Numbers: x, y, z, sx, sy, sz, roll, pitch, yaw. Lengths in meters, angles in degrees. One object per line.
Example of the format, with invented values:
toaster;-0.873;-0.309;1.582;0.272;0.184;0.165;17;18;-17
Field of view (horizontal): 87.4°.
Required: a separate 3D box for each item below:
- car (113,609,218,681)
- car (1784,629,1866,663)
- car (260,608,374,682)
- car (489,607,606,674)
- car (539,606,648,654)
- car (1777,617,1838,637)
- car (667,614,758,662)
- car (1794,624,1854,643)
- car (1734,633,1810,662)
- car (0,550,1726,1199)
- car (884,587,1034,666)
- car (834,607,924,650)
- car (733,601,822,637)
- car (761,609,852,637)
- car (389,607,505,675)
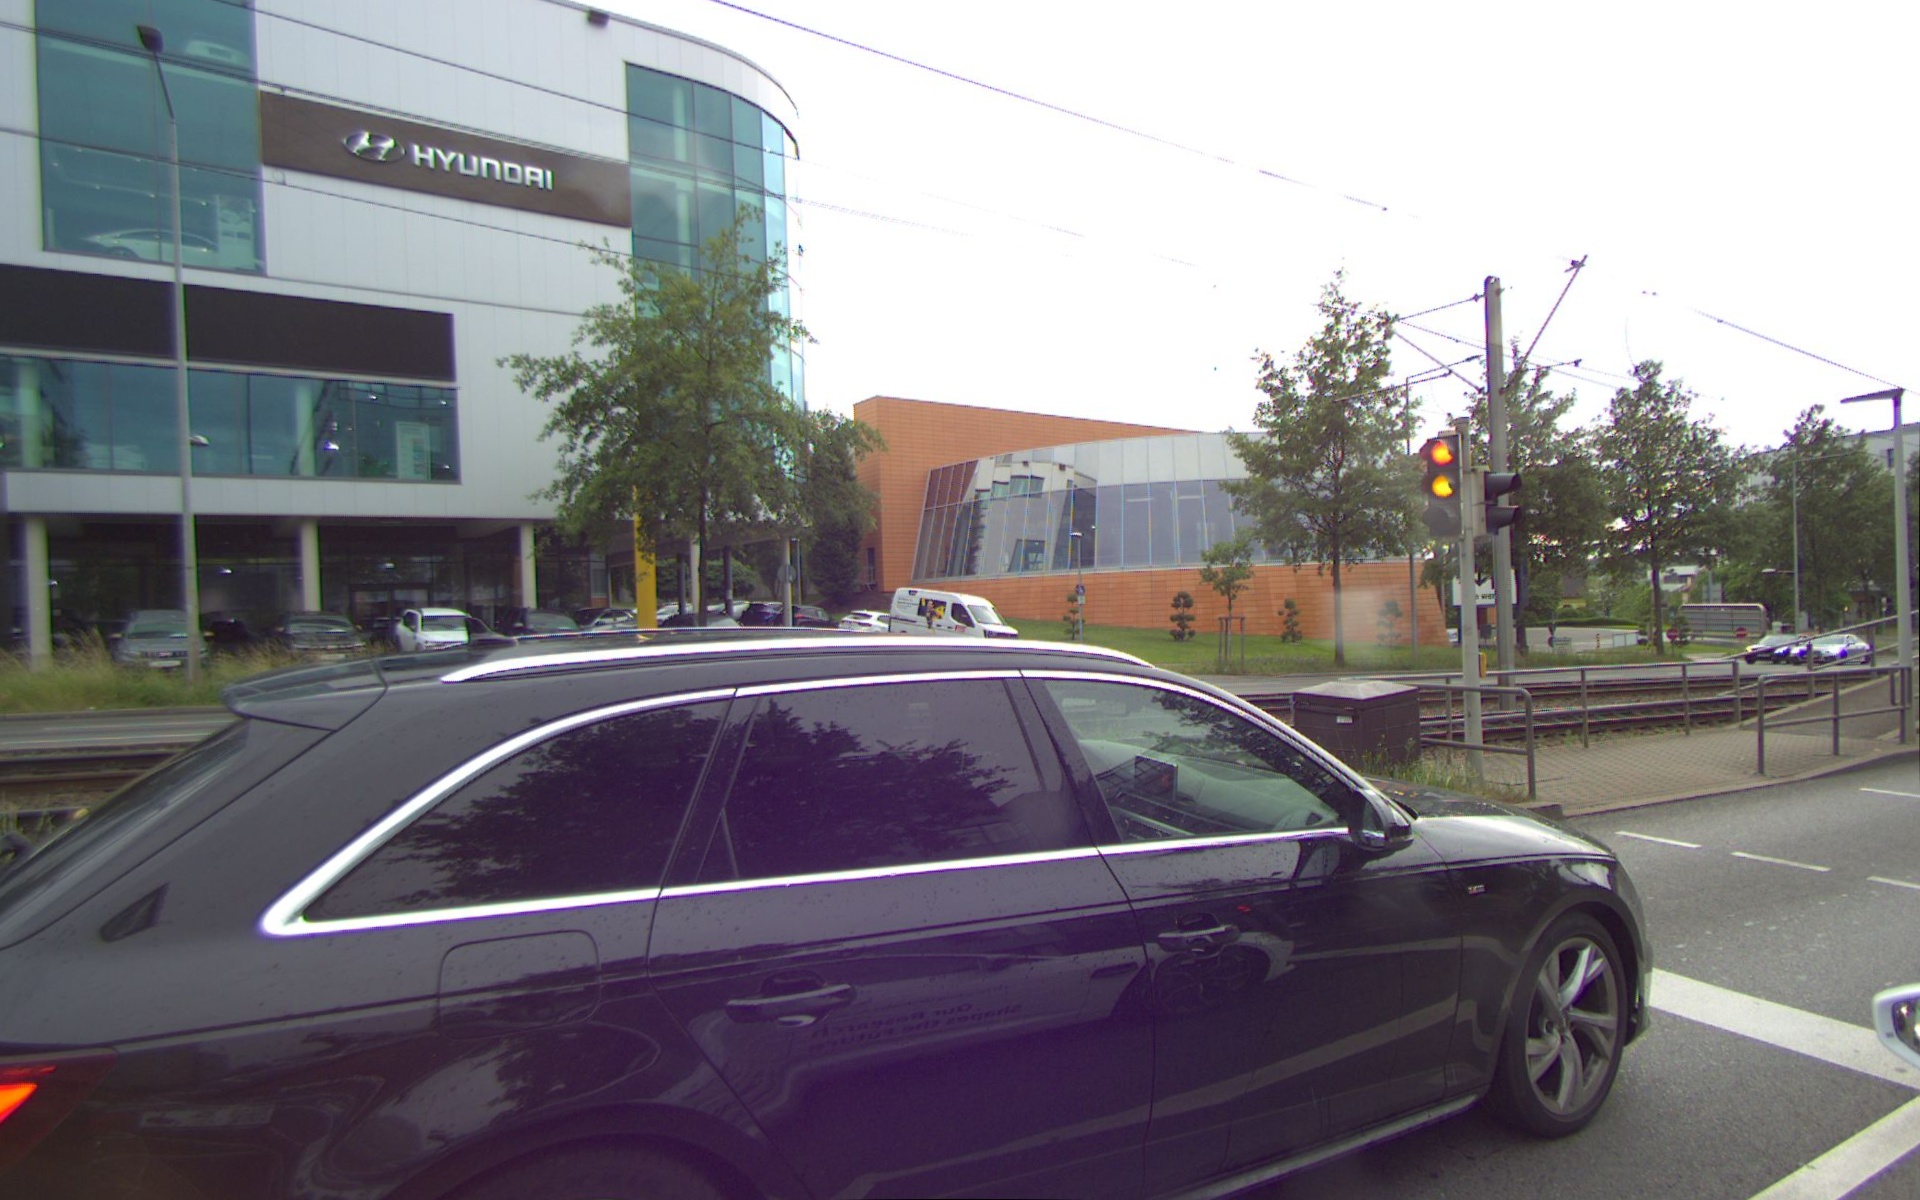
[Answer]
car;-19.862;1.062;25.064;1.917;1.479;3.974;1;1;-40
car;38.619;2.044;44.827;3.836;1.455;1.642;1;-3;-32
car;-16.953;1.109;26.390;1.984;1.571;4.324;1;1;-40
car;-12.318;1.141;29.861;1.984;1.637;4.324;1;1;-40
car;-12.829;1.017;35.340;1.691;1.572;3.587;0;-1;20
car;63.942;2.017;75.829;1.408;1.405;3.371;0;0;-13
car;-7.846;1.162;31.712;1.565;1.409;3.619;0;-1;-36
car;66.627;2.592;77.494;1.408;1.405;3.371;0;0;-13
car;39.678;2.296;49.063;3.922;1.253;1.642;0;0;-30
car;0.113;0.721;2.868;4.461;1.486;1.772;1;-1;-31
car;-0.117;0.920;38.111;5.544;2.616;2.392;3;1;43
car;-3.337;1.168;42.160;1.703;1.688;3.734;1;-1;38
car;-8.866;0.917;49.079;1.969;1.653;3.982;0;-1;39
car;-7.216;1.071;47.514;1.969;1.297;3.982;0;-1;39
car;-14.496;1.078;28.246;1.984;1.571;4.324;1;1;-40
